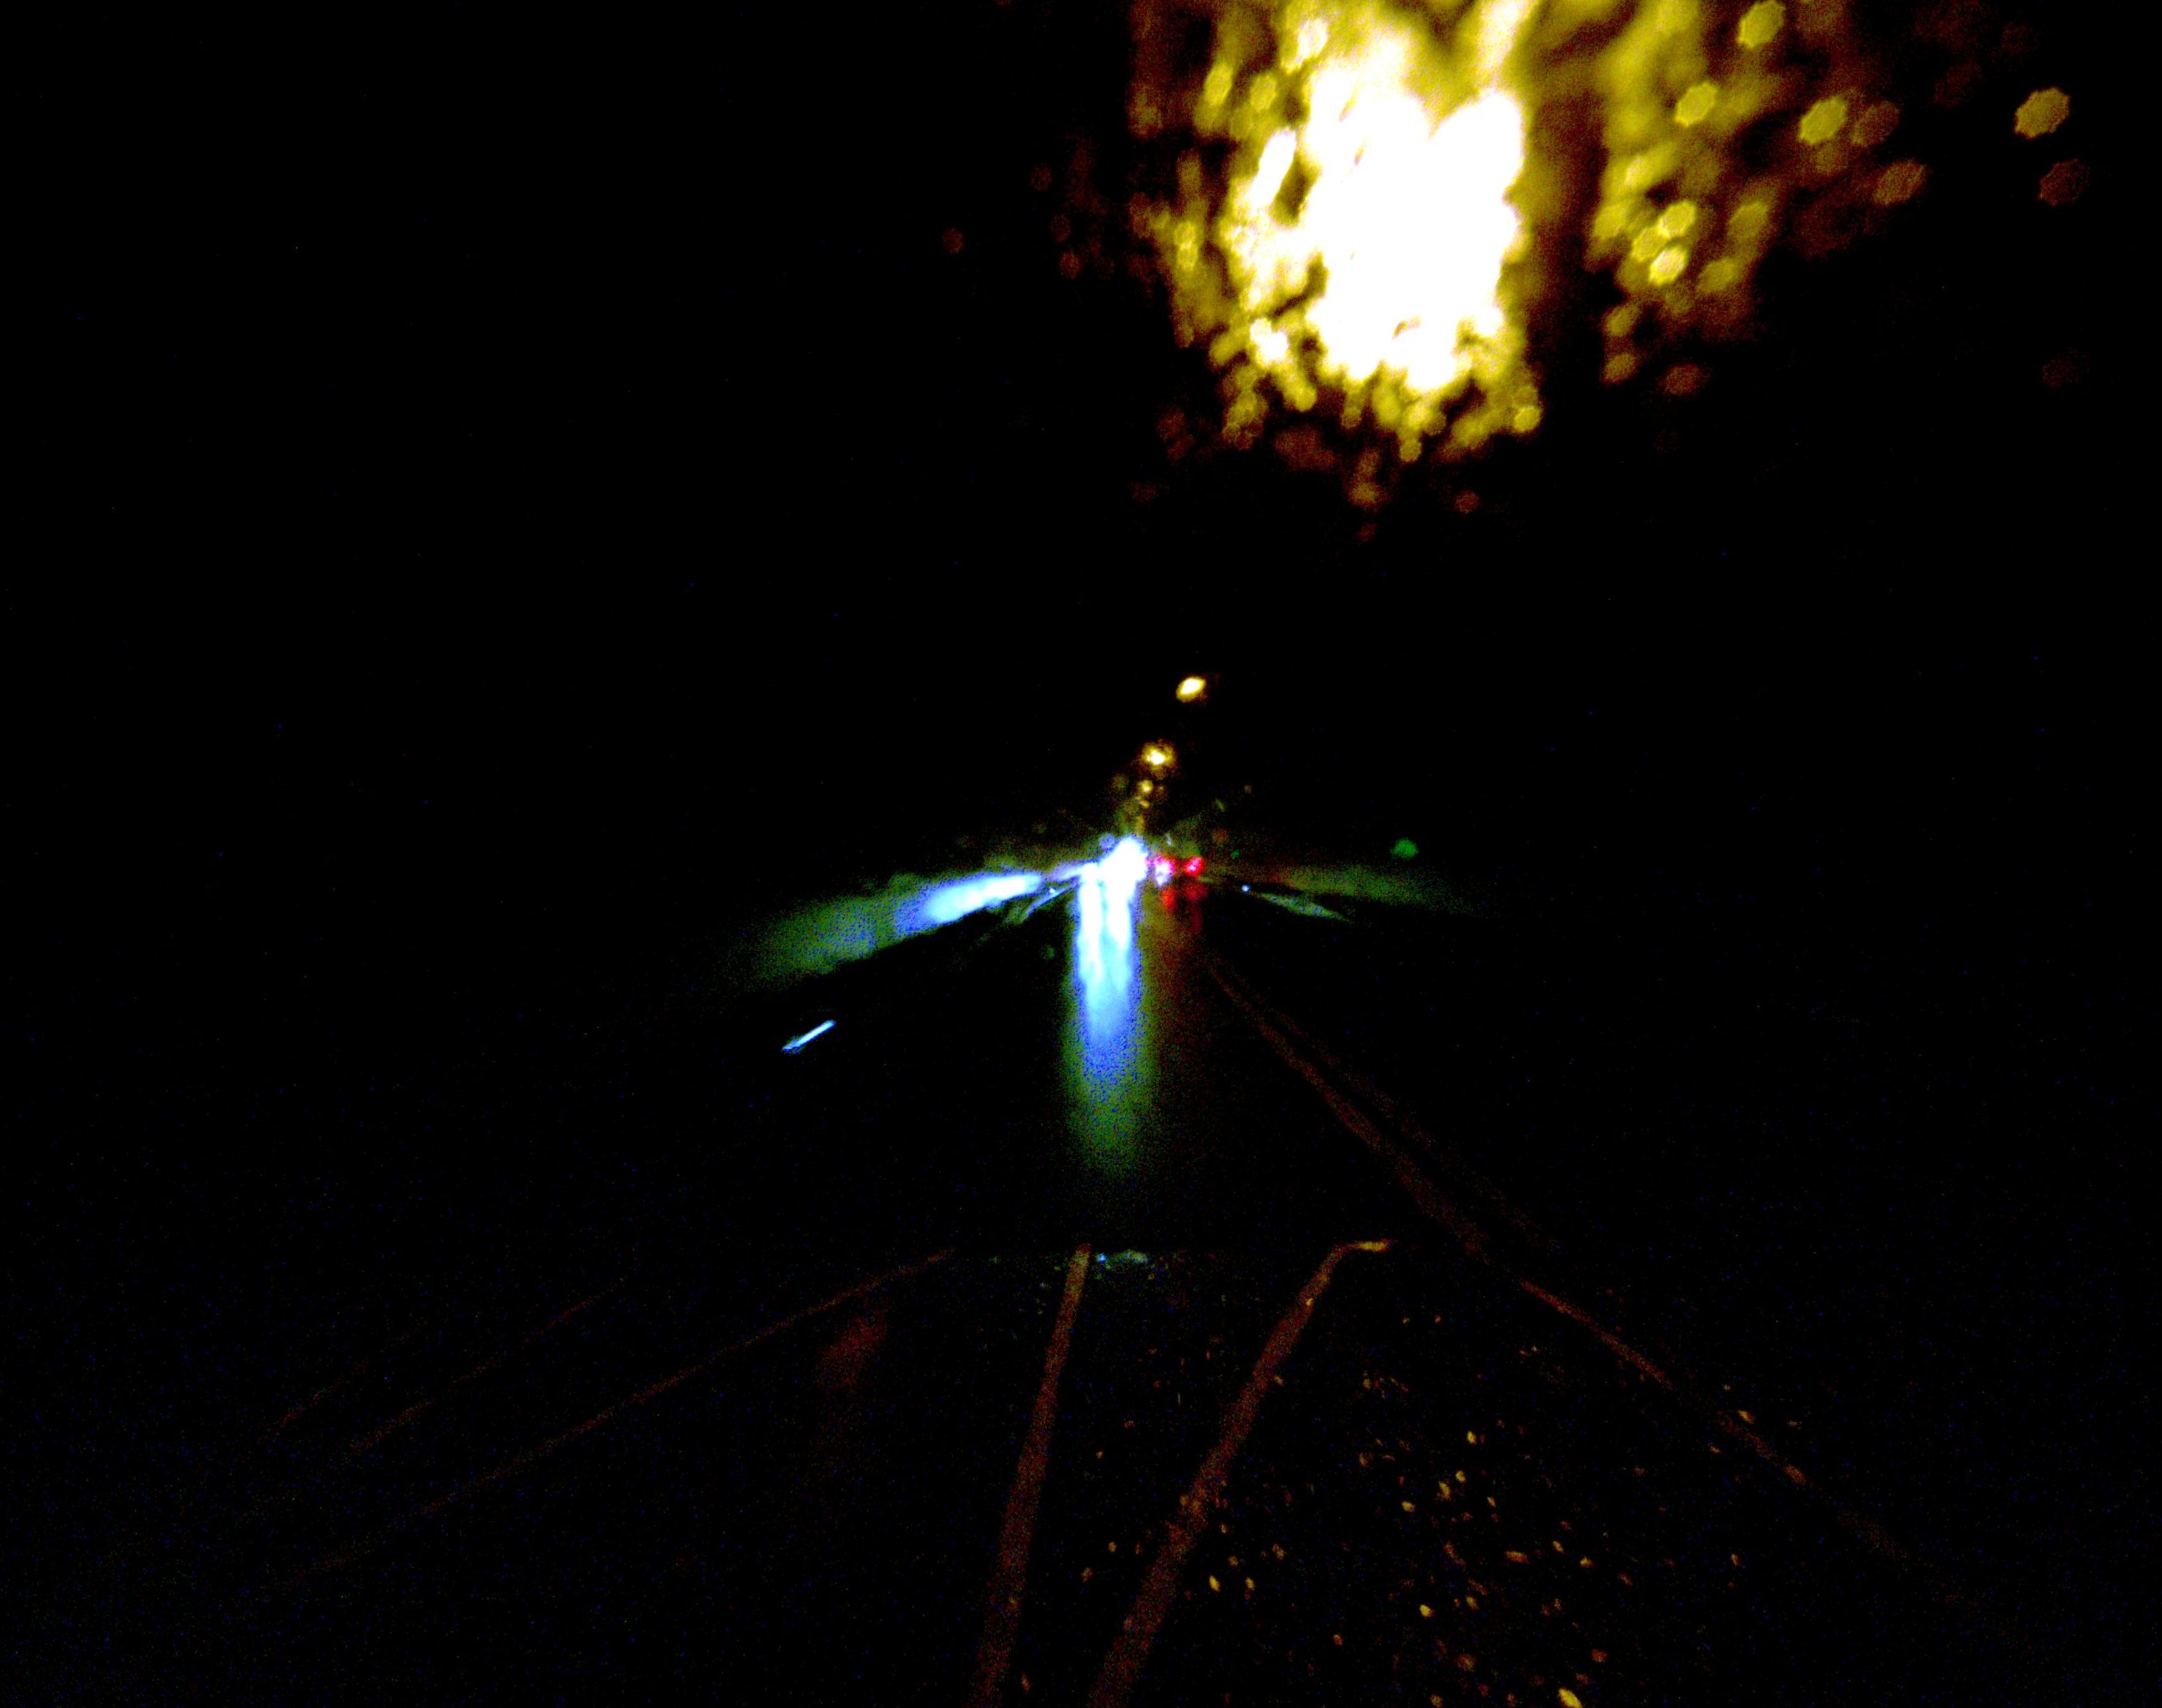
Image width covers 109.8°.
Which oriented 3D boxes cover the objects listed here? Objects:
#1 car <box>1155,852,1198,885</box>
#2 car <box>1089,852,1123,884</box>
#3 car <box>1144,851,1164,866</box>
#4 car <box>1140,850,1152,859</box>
[{"bbox_3d":[4.863,0.717,39.158,1.660,1.484,3.838,-4,0,0],"label":"car"},{"bbox_3d":[1.446,0.770,43.119,1.730,1.595,4.000,-4,0,3],"label":"car"},{"bbox_3d":[8.177,0.506,85.084,1.817,1.473,4.201,-4,0,1],"label":"car"},{"bbox_3d":[10.589,0.054,124.655,1.664,1.481,3.963,-3,0,1],"label":"car"}]
